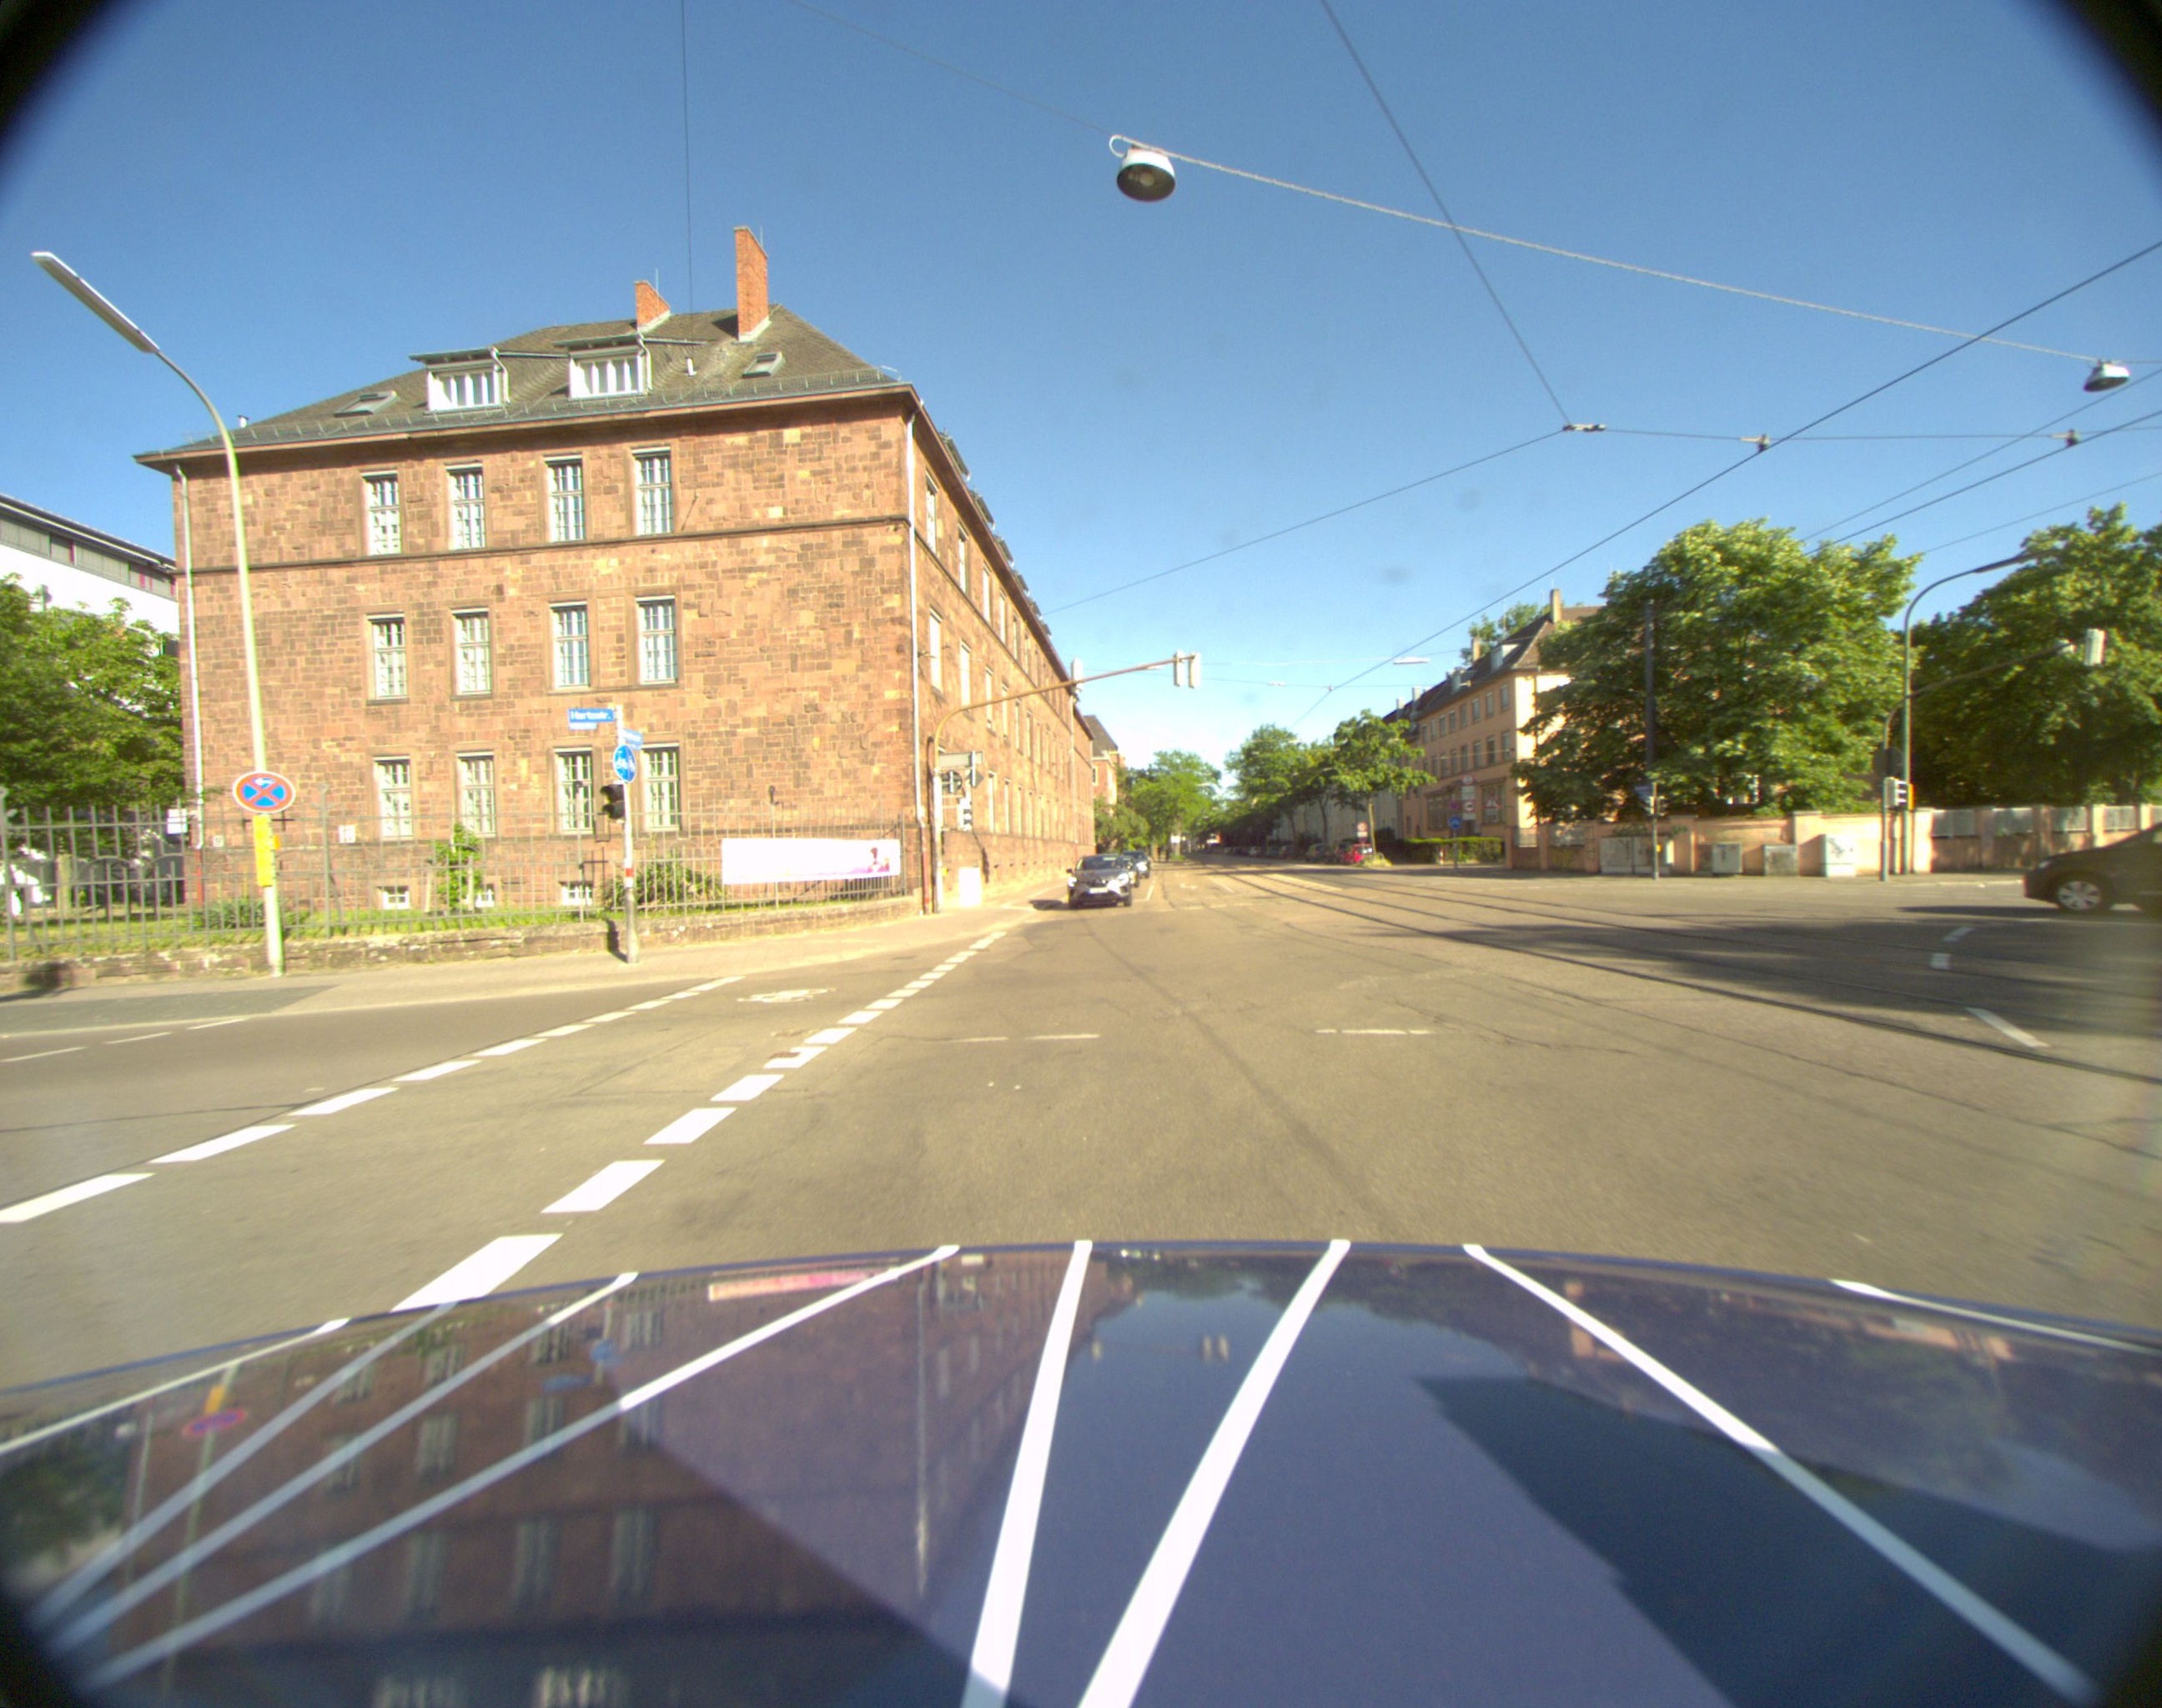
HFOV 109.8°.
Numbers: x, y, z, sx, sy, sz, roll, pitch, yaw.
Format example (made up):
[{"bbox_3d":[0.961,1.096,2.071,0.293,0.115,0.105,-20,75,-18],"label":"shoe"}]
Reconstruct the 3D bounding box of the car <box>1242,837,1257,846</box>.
[{"bbox_3d":[27.254,-2.035,123.163,1.815,1.411,3.631,-2,1,5],"label":"car"}]

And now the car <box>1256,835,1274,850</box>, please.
[{"bbox_3d":[25.385,-1.564,104.975,1.815,1.930,3.631,-2,1,5],"label":"car"}]

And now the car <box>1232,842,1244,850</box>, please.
[{"bbox_3d":[28.840,-1.533,139.763,1.815,1.411,3.631,-2,1,5],"label":"car"}]

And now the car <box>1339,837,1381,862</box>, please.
[{"bbox_3d":[20.010,-0.319,54.627,1.815,1.696,3.375,-2,1,3],"label":"car"}]

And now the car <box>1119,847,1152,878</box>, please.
[{"bbox_3d":[3.305,0.444,45.519,1.795,1.638,4.084,-3,1,5],"label":"car"}]

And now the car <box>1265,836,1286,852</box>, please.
[{"bbox_3d":[24.490,-1.275,95.789,1.815,1.815,3.796,-2,1,5],"label":"car"}]

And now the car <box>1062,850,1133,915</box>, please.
[{"bbox_3d":[0.561,0.765,22.400,1.795,1.595,3.800,-3,1,5],"label":"car"}]

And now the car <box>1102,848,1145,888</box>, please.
[{"bbox_3d":[2.022,0.607,35.132,1.795,1.595,3.800,-3,1,5],"label":"car"}]

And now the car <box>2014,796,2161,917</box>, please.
[{"bbox_3d":[16.677,0.007,10.175,1.999,1.756,5.029,-2,0,-4],"label":"car"}]

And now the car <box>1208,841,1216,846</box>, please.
[{"bbox_3d":[37.699,-2.917,219.140,1.815,1.411,3.631,-2,1,5],"label":"car"}]

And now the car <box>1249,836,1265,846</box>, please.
[{"bbox_3d":[26.496,-1.890,114.265,1.815,1.411,3.631,-2,1,5],"label":"car"}]

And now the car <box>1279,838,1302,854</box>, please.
[{"bbox_3d":[23.143,-0.898,84.025,1.815,1.590,3.631,-2,1,5],"label":"car"}]

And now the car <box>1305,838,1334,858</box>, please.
[{"bbox_3d":[21.305,-0.540,67.991,1.815,1.649,3.878,-2,1,7],"label":"car"}]

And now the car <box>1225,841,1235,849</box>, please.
[{"bbox_3d":[31.997,-1.971,163.288,1.815,1.768,3.631,-2,1,5],"label":"car"}]

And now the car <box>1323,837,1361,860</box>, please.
[{"bbox_3d":[20.285,-0.455,59.237,1.815,1.649,3.820,-2,1,3],"label":"car"}]
